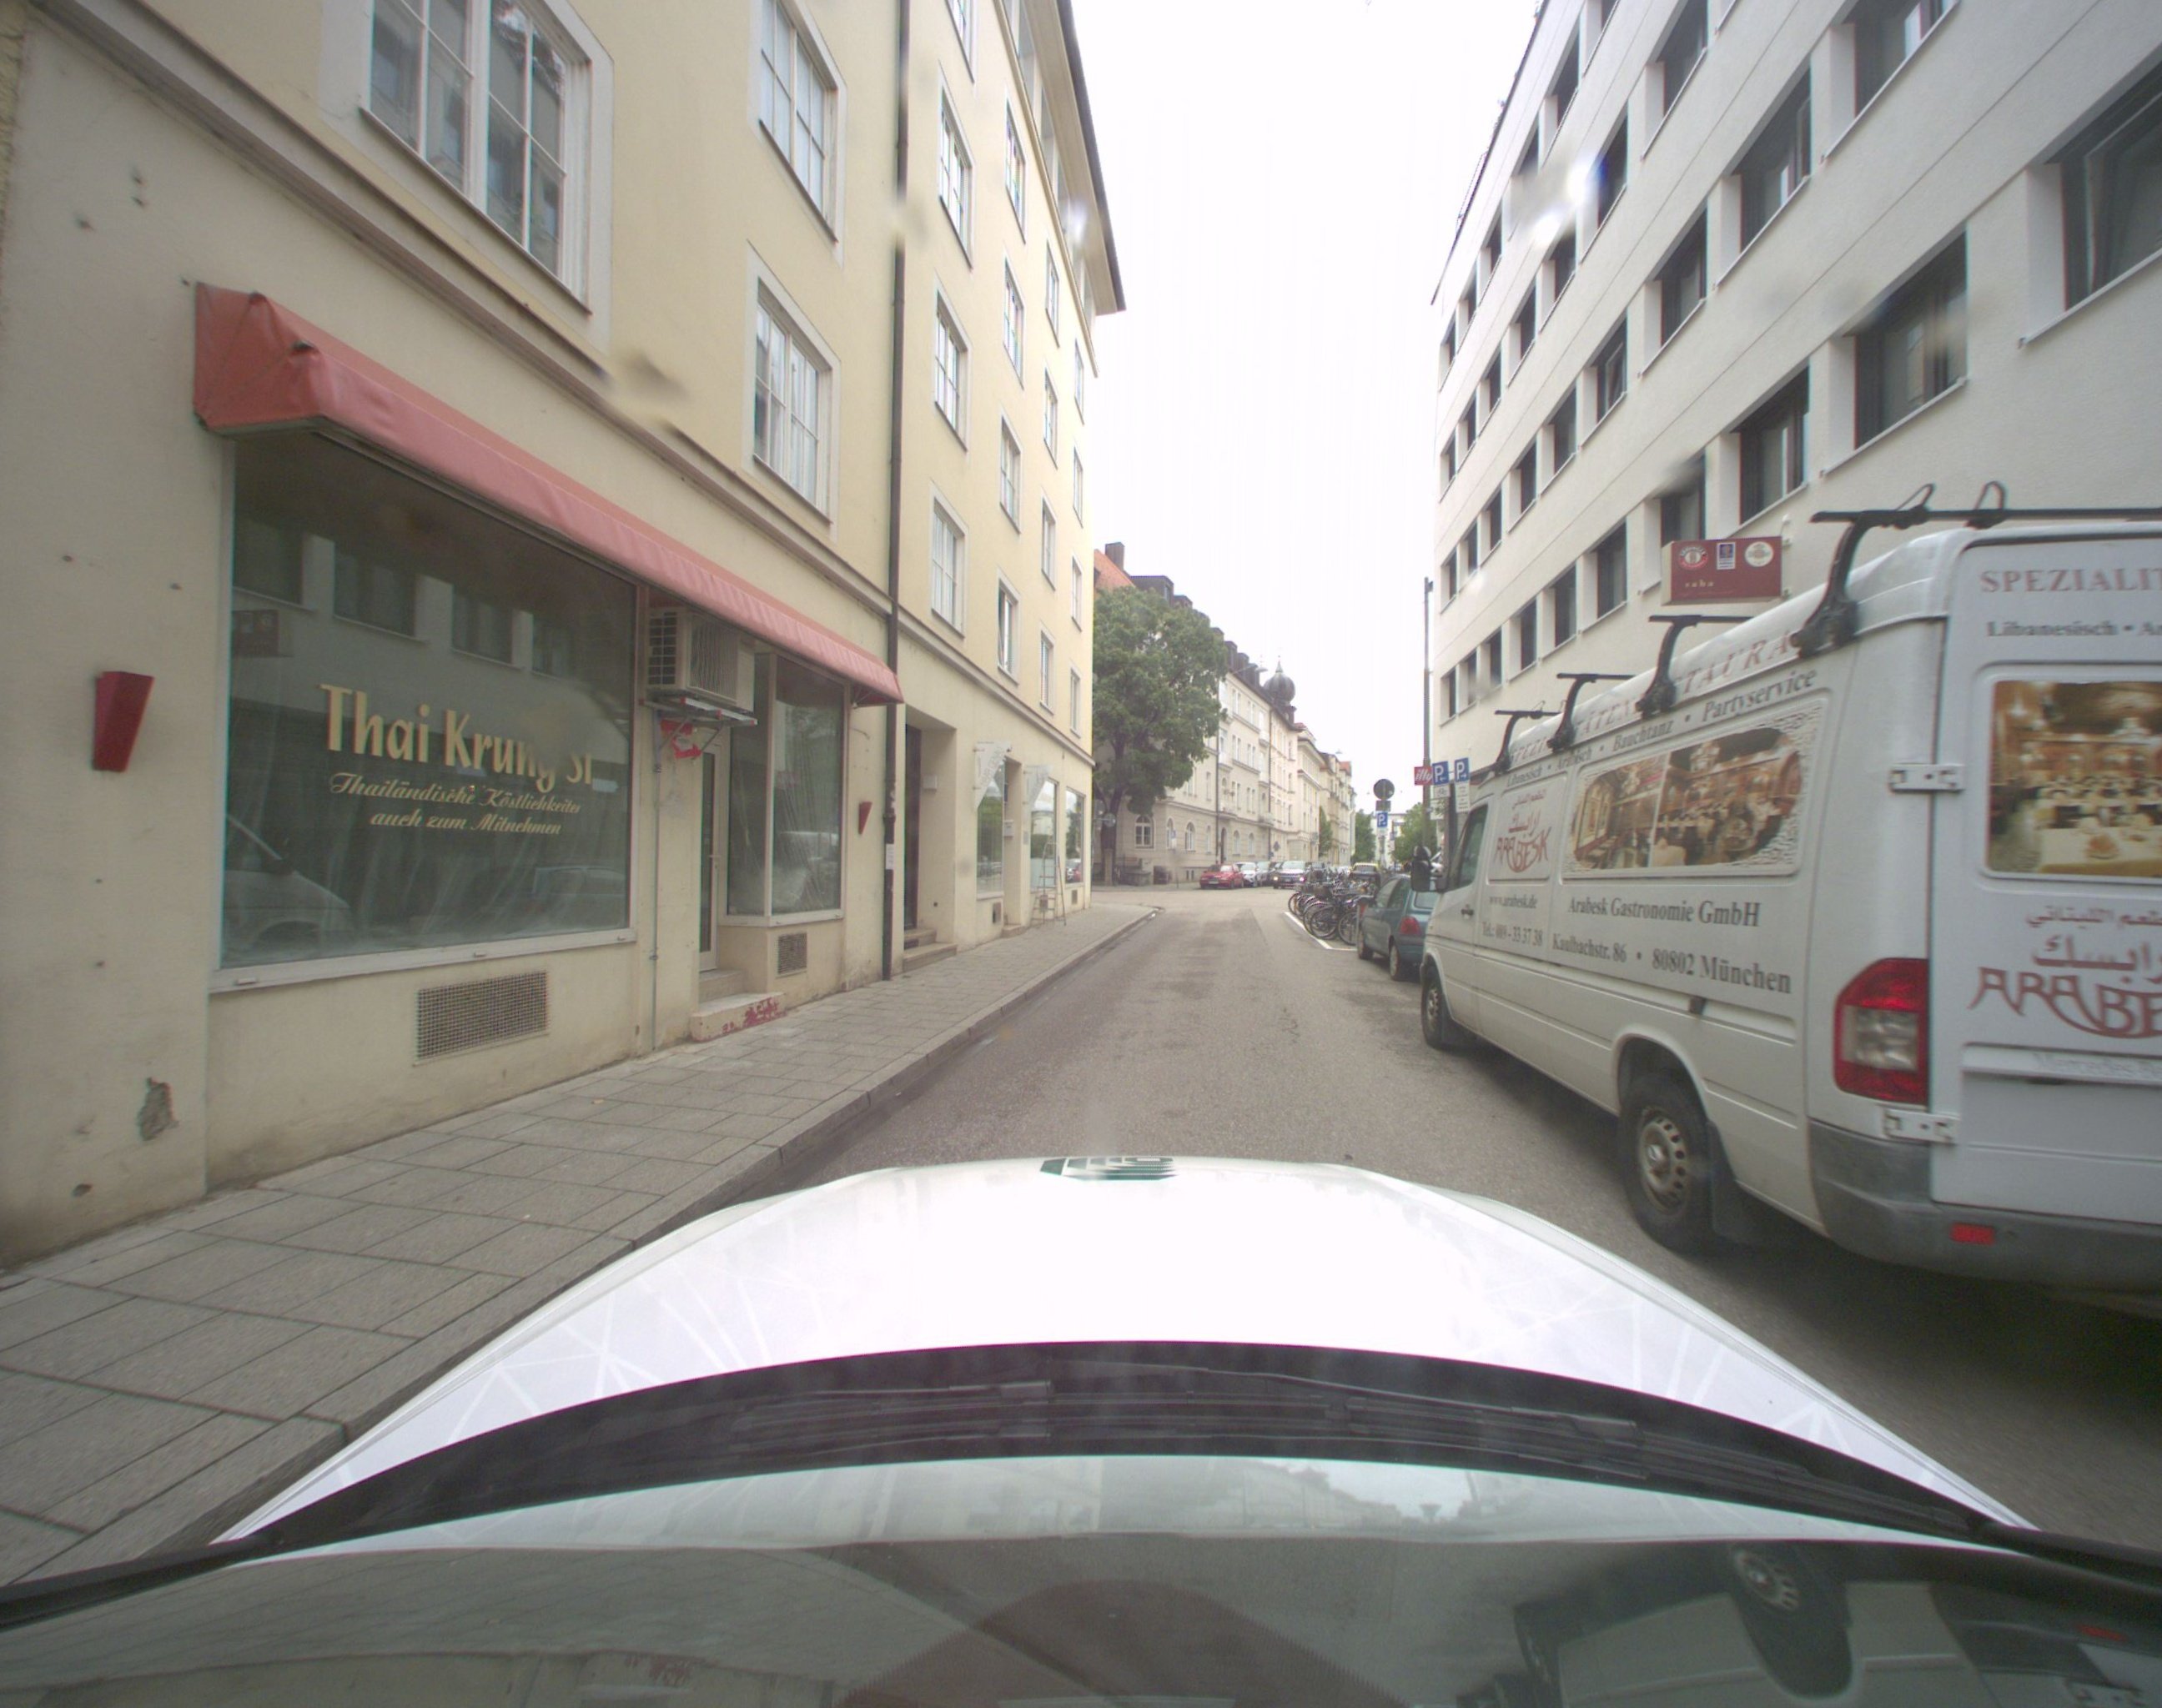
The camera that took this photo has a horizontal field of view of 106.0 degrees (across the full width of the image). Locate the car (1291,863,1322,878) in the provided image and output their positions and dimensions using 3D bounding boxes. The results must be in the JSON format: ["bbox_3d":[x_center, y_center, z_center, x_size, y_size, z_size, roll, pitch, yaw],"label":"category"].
[{"bbox_3d":[19.255,1.405,69.476,1.889,1.222,4.023,0,-1,25],"label":"car"}]

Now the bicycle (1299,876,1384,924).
[{"bbox_3d":[6.141,1.083,19.272,1.863,1.095,0.441,0,0,7],"label":"bicycle"}]

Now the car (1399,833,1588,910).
[{"bbox_3d":[14.788,0.573,29.595,5.850,2.591,2.068,1,0,15],"label":"car"}]

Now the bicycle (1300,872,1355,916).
[{"bbox_3d":[6.967,1.136,23.059,1.445,1.208,0.395,1,-1,3],"label":"bicycle"}]

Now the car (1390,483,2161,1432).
[{"bbox_3d":[3.574,0.294,5.083,1.909,2.506,6.013,2,0,10],"label":"car"}]

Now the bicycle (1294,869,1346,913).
[{"bbox_3d":[7.186,1.104,24.509,1.447,1.285,0.446,1,-1,11],"label":"bicycle"}]

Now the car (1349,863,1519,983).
[{"bbox_3d":[4.978,0.872,11.940,1.570,1.464,3.562,0,-1,11],"label":"car"}]

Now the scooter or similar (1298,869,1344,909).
[{"bbox_3d":[7.434,1.066,25.277,1.343,1.210,0.419,1,-1,12],"label":"scooter or similar"}]

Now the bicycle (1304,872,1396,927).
[{"bbox_3d":[5.952,1.005,18.114,1.863,1.204,0.581,-1,-1,8],"label":"bicycle"}]

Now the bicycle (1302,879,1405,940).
[{"bbox_3d":[5.415,1.098,16.238,1.863,1.108,0.489,2,1,8],"label":"bicycle"}]

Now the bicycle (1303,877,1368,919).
[{"bbox_3d":[6.699,1.155,21.495,1.604,1.080,0.379,0,0,7],"label":"bicycle"}]

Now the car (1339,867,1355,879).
[{"bbox_3d":[32.915,2.322,100.812,1.719,1.420,4.020,0,-1,21],"label":"car"}]

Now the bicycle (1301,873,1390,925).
[{"bbox_3d":[6.061,1.016,18.734,1.883,1.170,0.567,0,-1,7],"label":"bicycle"}]

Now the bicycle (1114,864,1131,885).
[{"bbox_3d":[2.268,1.101,44.479,0.490,1.052,1.835,0,1,16],"label":"bicycle"}]

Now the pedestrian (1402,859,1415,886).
[{"bbox_3d":[22.705,1.259,56.496,0.771,1.851,1.028,0,-1,25],"label":"pedestrian"}]

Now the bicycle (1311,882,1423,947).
[{"bbox_3d":[5.307,1.117,15.183,1.863,1.079,0.489,3,1,8],"label":"bicycle"}]

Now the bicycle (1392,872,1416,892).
[{"bbox_3d":[16.685,1.441,42.112,0.537,0.999,1.756,-3,-1,1],"label":"bicycle"}]

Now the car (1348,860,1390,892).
[{"bbox_3d":[16.417,1.237,46.301,1.804,1.636,4.312,3,0,24],"label":"car"}]

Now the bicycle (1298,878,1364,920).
[{"bbox_3d":[6.703,1.199,21.886,1.665,1.080,0.337,0,0,7],"label":"bicycle"}]

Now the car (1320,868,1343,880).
[{"bbox_3d":[26.053,2.050,84.570,1.890,1.222,4.022,0,-1,23],"label":"car"}]

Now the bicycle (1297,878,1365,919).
[{"bbox_3d":[6.834,1.206,22.284,1.731,1.080,0.453,0,0,7],"label":"bicycle"}]

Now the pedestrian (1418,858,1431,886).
[{"bbox_3d":[23.519,1.235,55.699,0.771,1.851,1.028,0,-1,25],"label":"pedestrian"}]

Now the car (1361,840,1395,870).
[{"bbox_3d":[20.480,0.095,56.040,1.804,1.871,4.312,3,0,24],"label":"car"}]

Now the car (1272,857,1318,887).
[{"bbox_3d":[12.281,0.994,46.556,1.940,1.608,4.332,0,-1,23],"label":"car"}]

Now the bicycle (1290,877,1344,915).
[{"bbox_3d":[6.816,1.205,23.545,1.445,1.069,0.464,1,-1,3],"label":"bicycle"}]

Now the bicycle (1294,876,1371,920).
[{"bbox_3d":[6.502,1.129,21.082,1.863,1.080,0.409,0,0,7],"label":"bicycle"}]

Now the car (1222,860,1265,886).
[{"bbox_3d":[9.838,1.112,49.028,1.977,1.473,4.238,0,-1,19],"label":"car"}]

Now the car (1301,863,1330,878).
[{"bbox_3d":[21.251,1.483,73.808,1.889,1.329,4.023,0,-1,25],"label":"car"}]

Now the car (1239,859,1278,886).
[{"bbox_3d":[11.780,1.201,53.821,1.926,1.702,4.020,1,0,21],"label":"car"}]

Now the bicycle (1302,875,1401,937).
[{"bbox_3d":[5.538,1.050,16.747,1.863,1.204,0.489,0,0,8],"label":"bicycle"}]

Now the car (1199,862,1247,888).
[{"bbox_3d":[7.813,1.127,44.589,1.715,1.378,4.249,0,-1,22],"label":"car"}]

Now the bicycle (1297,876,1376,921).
[{"bbox_3d":[6.457,1.113,20.643,1.863,1.080,0.403,0,0,7],"label":"bicycle"}]

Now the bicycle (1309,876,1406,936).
[{"bbox_3d":[5.883,1.097,17.380,1.863,1.157,0.566,2,1,8],"label":"bicycle"}]

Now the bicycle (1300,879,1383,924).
[{"bbox_3d":[6.366,1.161,19.947,1.863,1.052,0.565,0,-2,7],"label":"bicycle"}]
